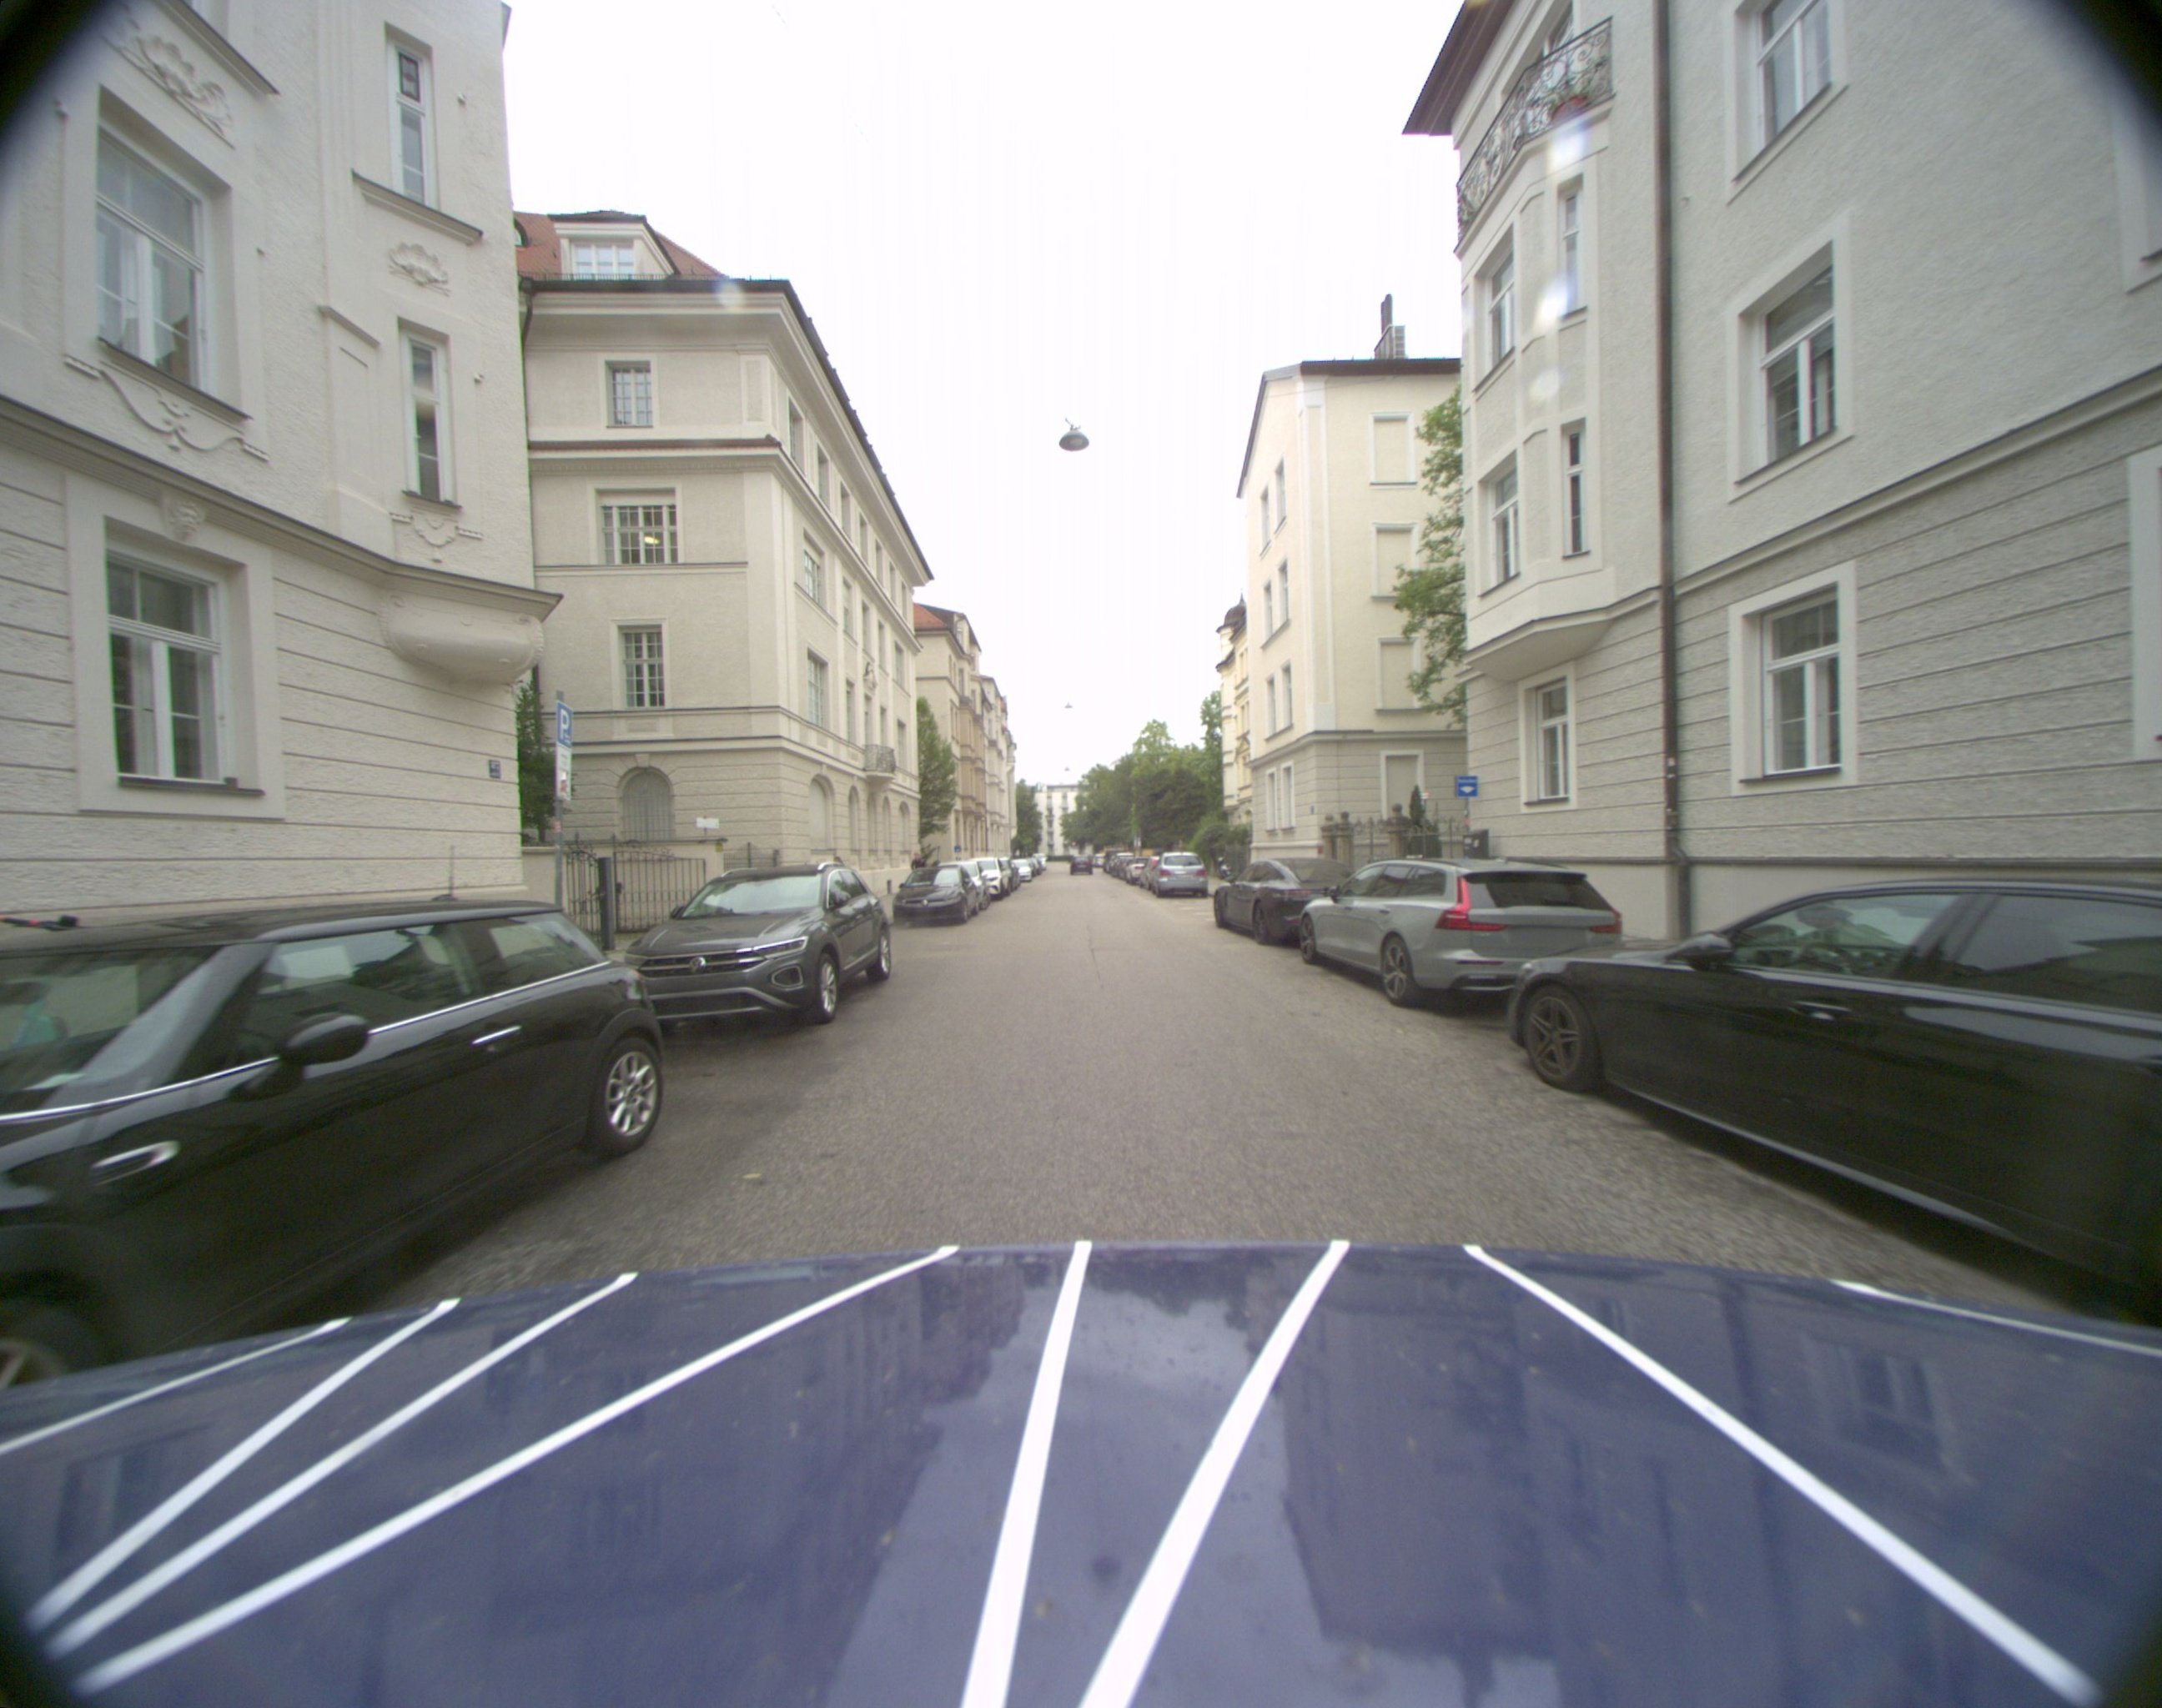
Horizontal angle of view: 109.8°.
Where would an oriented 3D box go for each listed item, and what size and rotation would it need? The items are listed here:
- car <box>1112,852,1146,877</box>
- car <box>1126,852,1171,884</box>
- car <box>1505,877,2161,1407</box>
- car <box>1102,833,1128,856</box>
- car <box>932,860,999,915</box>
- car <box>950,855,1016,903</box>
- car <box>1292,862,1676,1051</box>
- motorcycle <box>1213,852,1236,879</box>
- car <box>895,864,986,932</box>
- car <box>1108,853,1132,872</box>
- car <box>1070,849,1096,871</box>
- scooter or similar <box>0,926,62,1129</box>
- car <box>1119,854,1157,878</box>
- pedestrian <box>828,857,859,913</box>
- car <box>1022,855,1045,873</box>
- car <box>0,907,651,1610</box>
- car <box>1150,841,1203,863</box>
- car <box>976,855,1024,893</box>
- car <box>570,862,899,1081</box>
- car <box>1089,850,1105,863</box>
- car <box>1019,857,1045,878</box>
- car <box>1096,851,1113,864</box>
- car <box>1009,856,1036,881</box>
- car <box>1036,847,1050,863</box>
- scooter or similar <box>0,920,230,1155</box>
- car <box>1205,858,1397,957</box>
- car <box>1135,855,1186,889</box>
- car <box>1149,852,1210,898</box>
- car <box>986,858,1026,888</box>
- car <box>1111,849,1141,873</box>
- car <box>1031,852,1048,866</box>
[{"bbox_3d":[3.168,0.670,50.655,1.773,1.412,3.998,-2,1,-3],"label":"car"},{"bbox_3d":[3.373,0.678,38.725,1.802,1.426,4.078,-3,1,-1],"label":"car"},{"bbox_3d":[3.949,0.882,3.005,1.815,1.377,4.441,-1,0,-4],"label":"car"},{"bbox_3d":[2.918,-0.820,65.970,1.917,1.876,4.815,-2,1,-1],"label":"car"},{"bbox_3d":[-3.692,1.019,24.844,1.713,1.492,3.998,-3,1,-3],"label":"car"},{"bbox_3d":[-3.693,0.897,29.373,1.900,1.626,4.391,-3,0,0],"label":"car"},{"bbox_3d":[3.873,0.850,8.380,1.799,1.411,4.509,0,1,-1],"label":"car"},{"bbox_3d":[7.179,0.572,38.067,0.706,1.242,1.820,-4,2,-2],"label":"motorcycle"},{"bbox_3d":[-3.524,1.056,19.696,1.616,1.387,3.999,-4,1,-1],"label":"car"},{"bbox_3d":[3.090,0.679,60.681,1.647,1.422,3.918,0,1,-2],"label":"car"},{"bbox_3d":[0.142,0.434,59.941,1.729,1.525,4.084,-6,1,-2],"label":"car"},{"bbox_3d":[-7.262,1.139,4.505,0.507,1.280,1.352,0,1,8],"label":"scooter or similar"},{"bbox_3d":[3.423,0.724,46.280,1.740,1.357,4.191,-1,0,-4],"label":"car"},{"bbox_3d":[-7.175,0.918,23.021,0.684,1.669,0.812,0,0,-2],"label":"pedestrian"},{"bbox_3d":[-4.023,0.825,65.439,1.646,1.409,3.999,-4,1,0],"label":"car"},{"bbox_3d":[-3.310,1.072,2.419,1.668,1.387,3.581,-4,1,1],"label":"car"},{"bbox_3d":[8.865,-0.207,70.711,4.520,1.847,2.053,-2,1,-8],"label":"car"},{"bbox_3d":[-3.717,0.880,35.356,1.753,1.516,4.169,-3,1,0],"label":"car"},{"bbox_3d":[-3.267,0.969,8.137,1.712,1.578,3.999,-4,0,-2],"label":"car"},{"bbox_3d":[1.953,0.349,94.604,1.705,1.552,3.929,-1,0,-3],"label":"car"},{"bbox_3d":[-3.875,1.065,60.642,1.746,1.390,4.021,-5,1,0],"label":"car"},{"bbox_3d":[2.691,0.376,88.765,1.705,1.483,3.954,-1,0,-3],"label":"car"},{"bbox_3d":[-3.847,0.940,50.389,1.667,1.499,4.063,-3,0,-3],"label":"car"},{"bbox_3d":[-5.305,0.126,105.061,1.794,1.926,4.083,-4,1,-3],"label":"car"},{"bbox_3d":[-6.609,1.136,4.842,0.541,1.280,1.504,0,1,7],"label":"scooter or similar"},{"bbox_3d":[3.698,0.812,13.765,1.855,1.359,4.700,-3,1,-3],"label":"car"},{"bbox_3d":[3.476,0.746,33.727,1.649,1.395,3.998,-1,1,-3],"label":"car"},{"bbox_3d":[3.536,0.718,27.885,1.701,1.571,4.061,0,0,0],"label":"car"},{"bbox_3d":[-3.993,0.988,41.009,1.715,1.443,4.224,-3,0,-1],"label":"car"},{"bbox_3d":[3.274,0.494,56.186,1.811,1.638,4.484,-1,0,-2],"label":"car"},{"bbox_3d":[-4.720,0.533,85.997,1.715,1.462,4.083,-4,1,-3],"label":"car"}]
